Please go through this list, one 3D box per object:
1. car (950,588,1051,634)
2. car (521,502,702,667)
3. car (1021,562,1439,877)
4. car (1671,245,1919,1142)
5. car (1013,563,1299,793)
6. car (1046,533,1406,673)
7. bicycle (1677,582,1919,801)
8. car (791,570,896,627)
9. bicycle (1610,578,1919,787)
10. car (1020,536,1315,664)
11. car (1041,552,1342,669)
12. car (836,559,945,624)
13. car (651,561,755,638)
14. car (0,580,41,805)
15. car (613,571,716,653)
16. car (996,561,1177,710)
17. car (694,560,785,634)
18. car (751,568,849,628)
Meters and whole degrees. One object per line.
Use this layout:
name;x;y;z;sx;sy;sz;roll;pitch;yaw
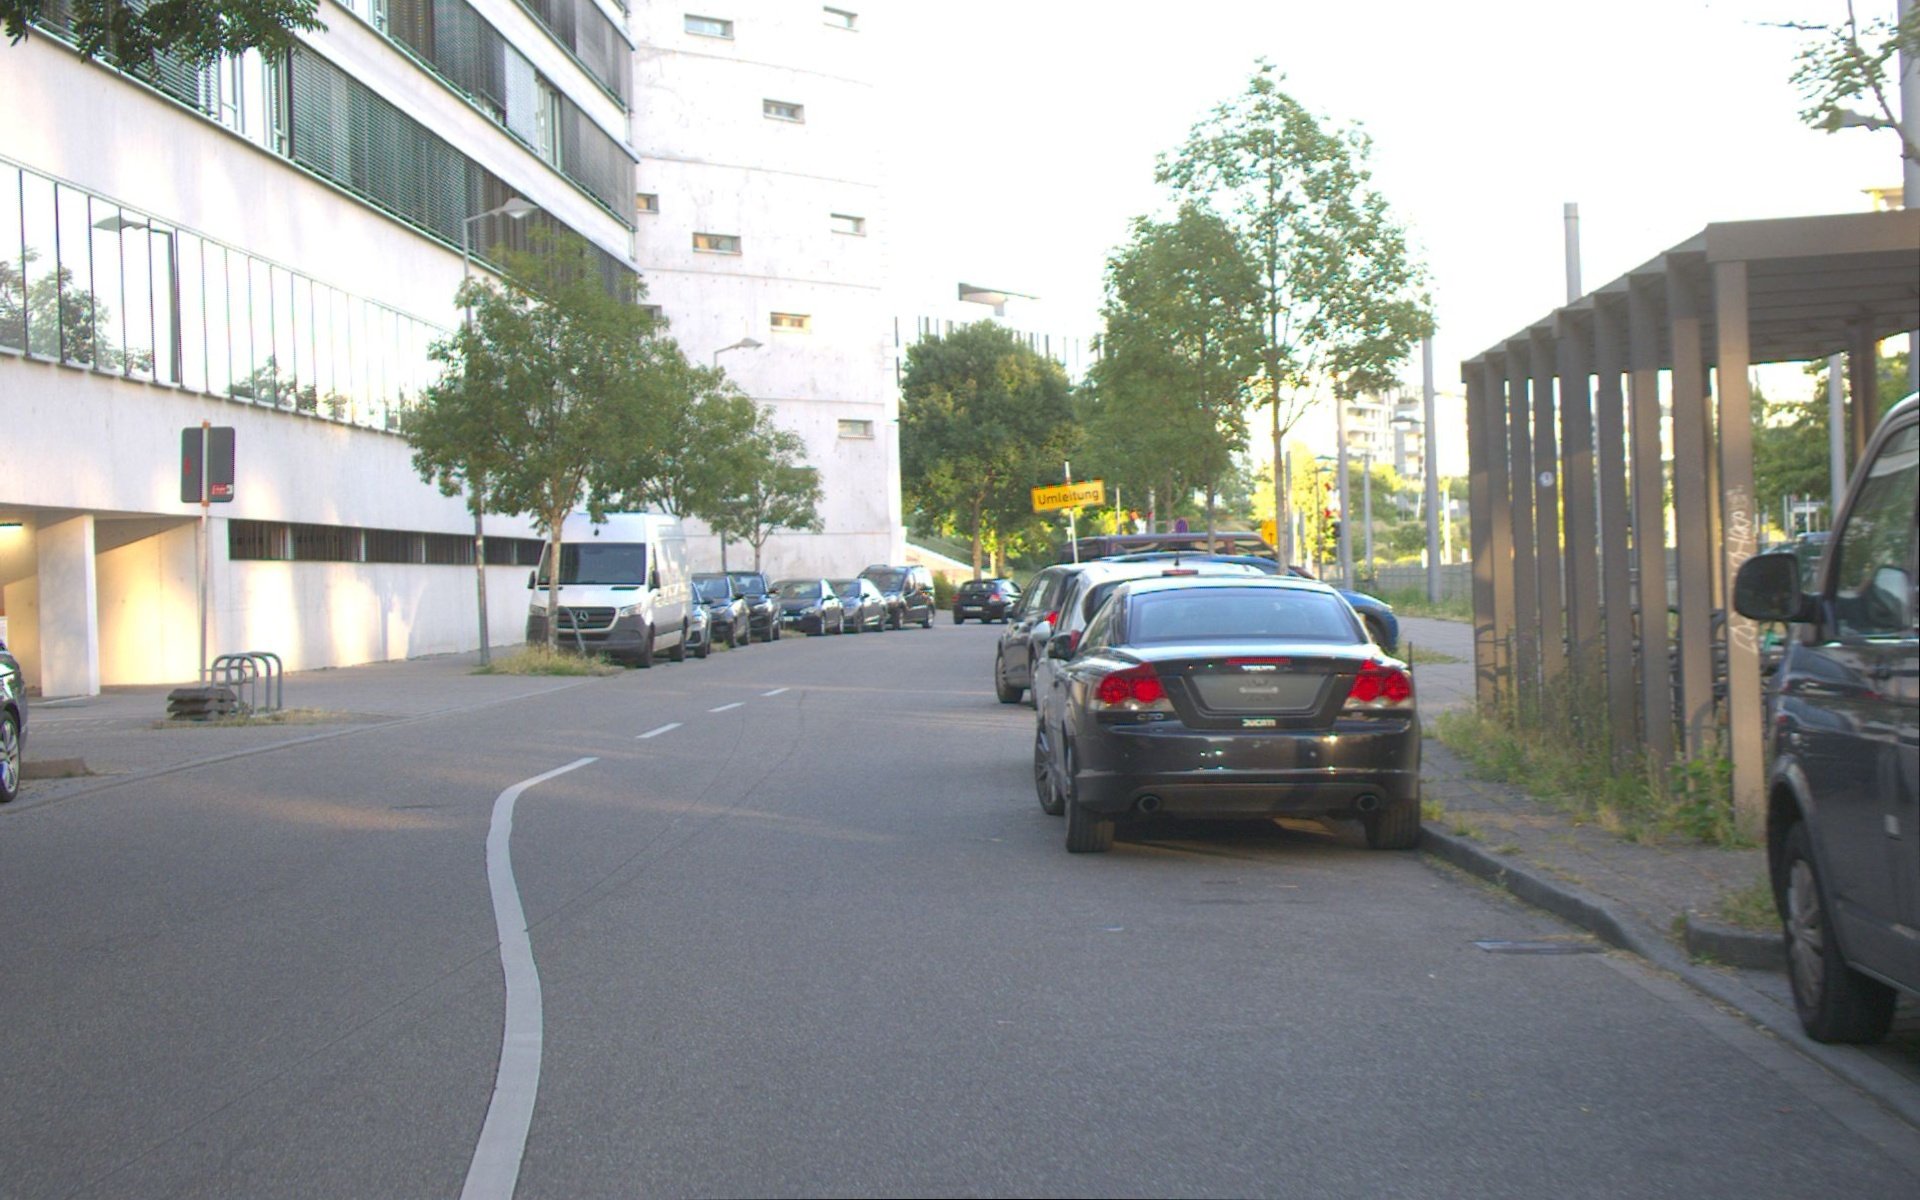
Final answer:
car;1.303;0.329;108.454;1.946;1.378;4.395;1;1;18
car;-5.792;-0.307;57.998;1.958;2.608;6.892;0;1;3
car;1.327;0.545;18.638;1.787;1.447;4.516;-1;1;-1
car;3.202;0.199;8.505;1.804;2.169;4.736;-3;0;0
car;1.303;0.486;24.320;1.676;1.447;4.188;-1;1;-1
car;3.274;0.030;42.113;3.987;1.515;1.928;-3;-1;-33
bicycle;4.613;0.456;17.694;1.719;1.062;0.421;-2;0;2
car;-3.120;-0.067;93.115;1.723;1.452;4.691;1;1;12
bicycle;4.526;0.441;18.800;1.806;1.062;0.487;-2;0;2
car;3.423;-0.038;56.397;4.588;2.028;1.871;-1;1;-32
car;3.265;0.156;48.245;3.987;1.589;1.737;1;0;-34
car;-1.957;-0.265;98.213;1.758;1.792;4.459;1;1;17
car;-5.432;-0.037;73.135;1.756;1.555;4.043;0;1;2
car;-7.060;0.640;21.247;1.714;1.447;4.399;-1;1;-2
car;-5.510;0.203;64.429;1.756;1.435;3.902;0;1;-3
car;1.268;0.352;35.957;1.731;1.461;4.000;0;0;0
car;-5.074;-0.092;79.495;1.756;1.648;3.948;0;1;1
car;-4.052;-0.063;87.662;1.723;1.452;4.270;1;1;8
